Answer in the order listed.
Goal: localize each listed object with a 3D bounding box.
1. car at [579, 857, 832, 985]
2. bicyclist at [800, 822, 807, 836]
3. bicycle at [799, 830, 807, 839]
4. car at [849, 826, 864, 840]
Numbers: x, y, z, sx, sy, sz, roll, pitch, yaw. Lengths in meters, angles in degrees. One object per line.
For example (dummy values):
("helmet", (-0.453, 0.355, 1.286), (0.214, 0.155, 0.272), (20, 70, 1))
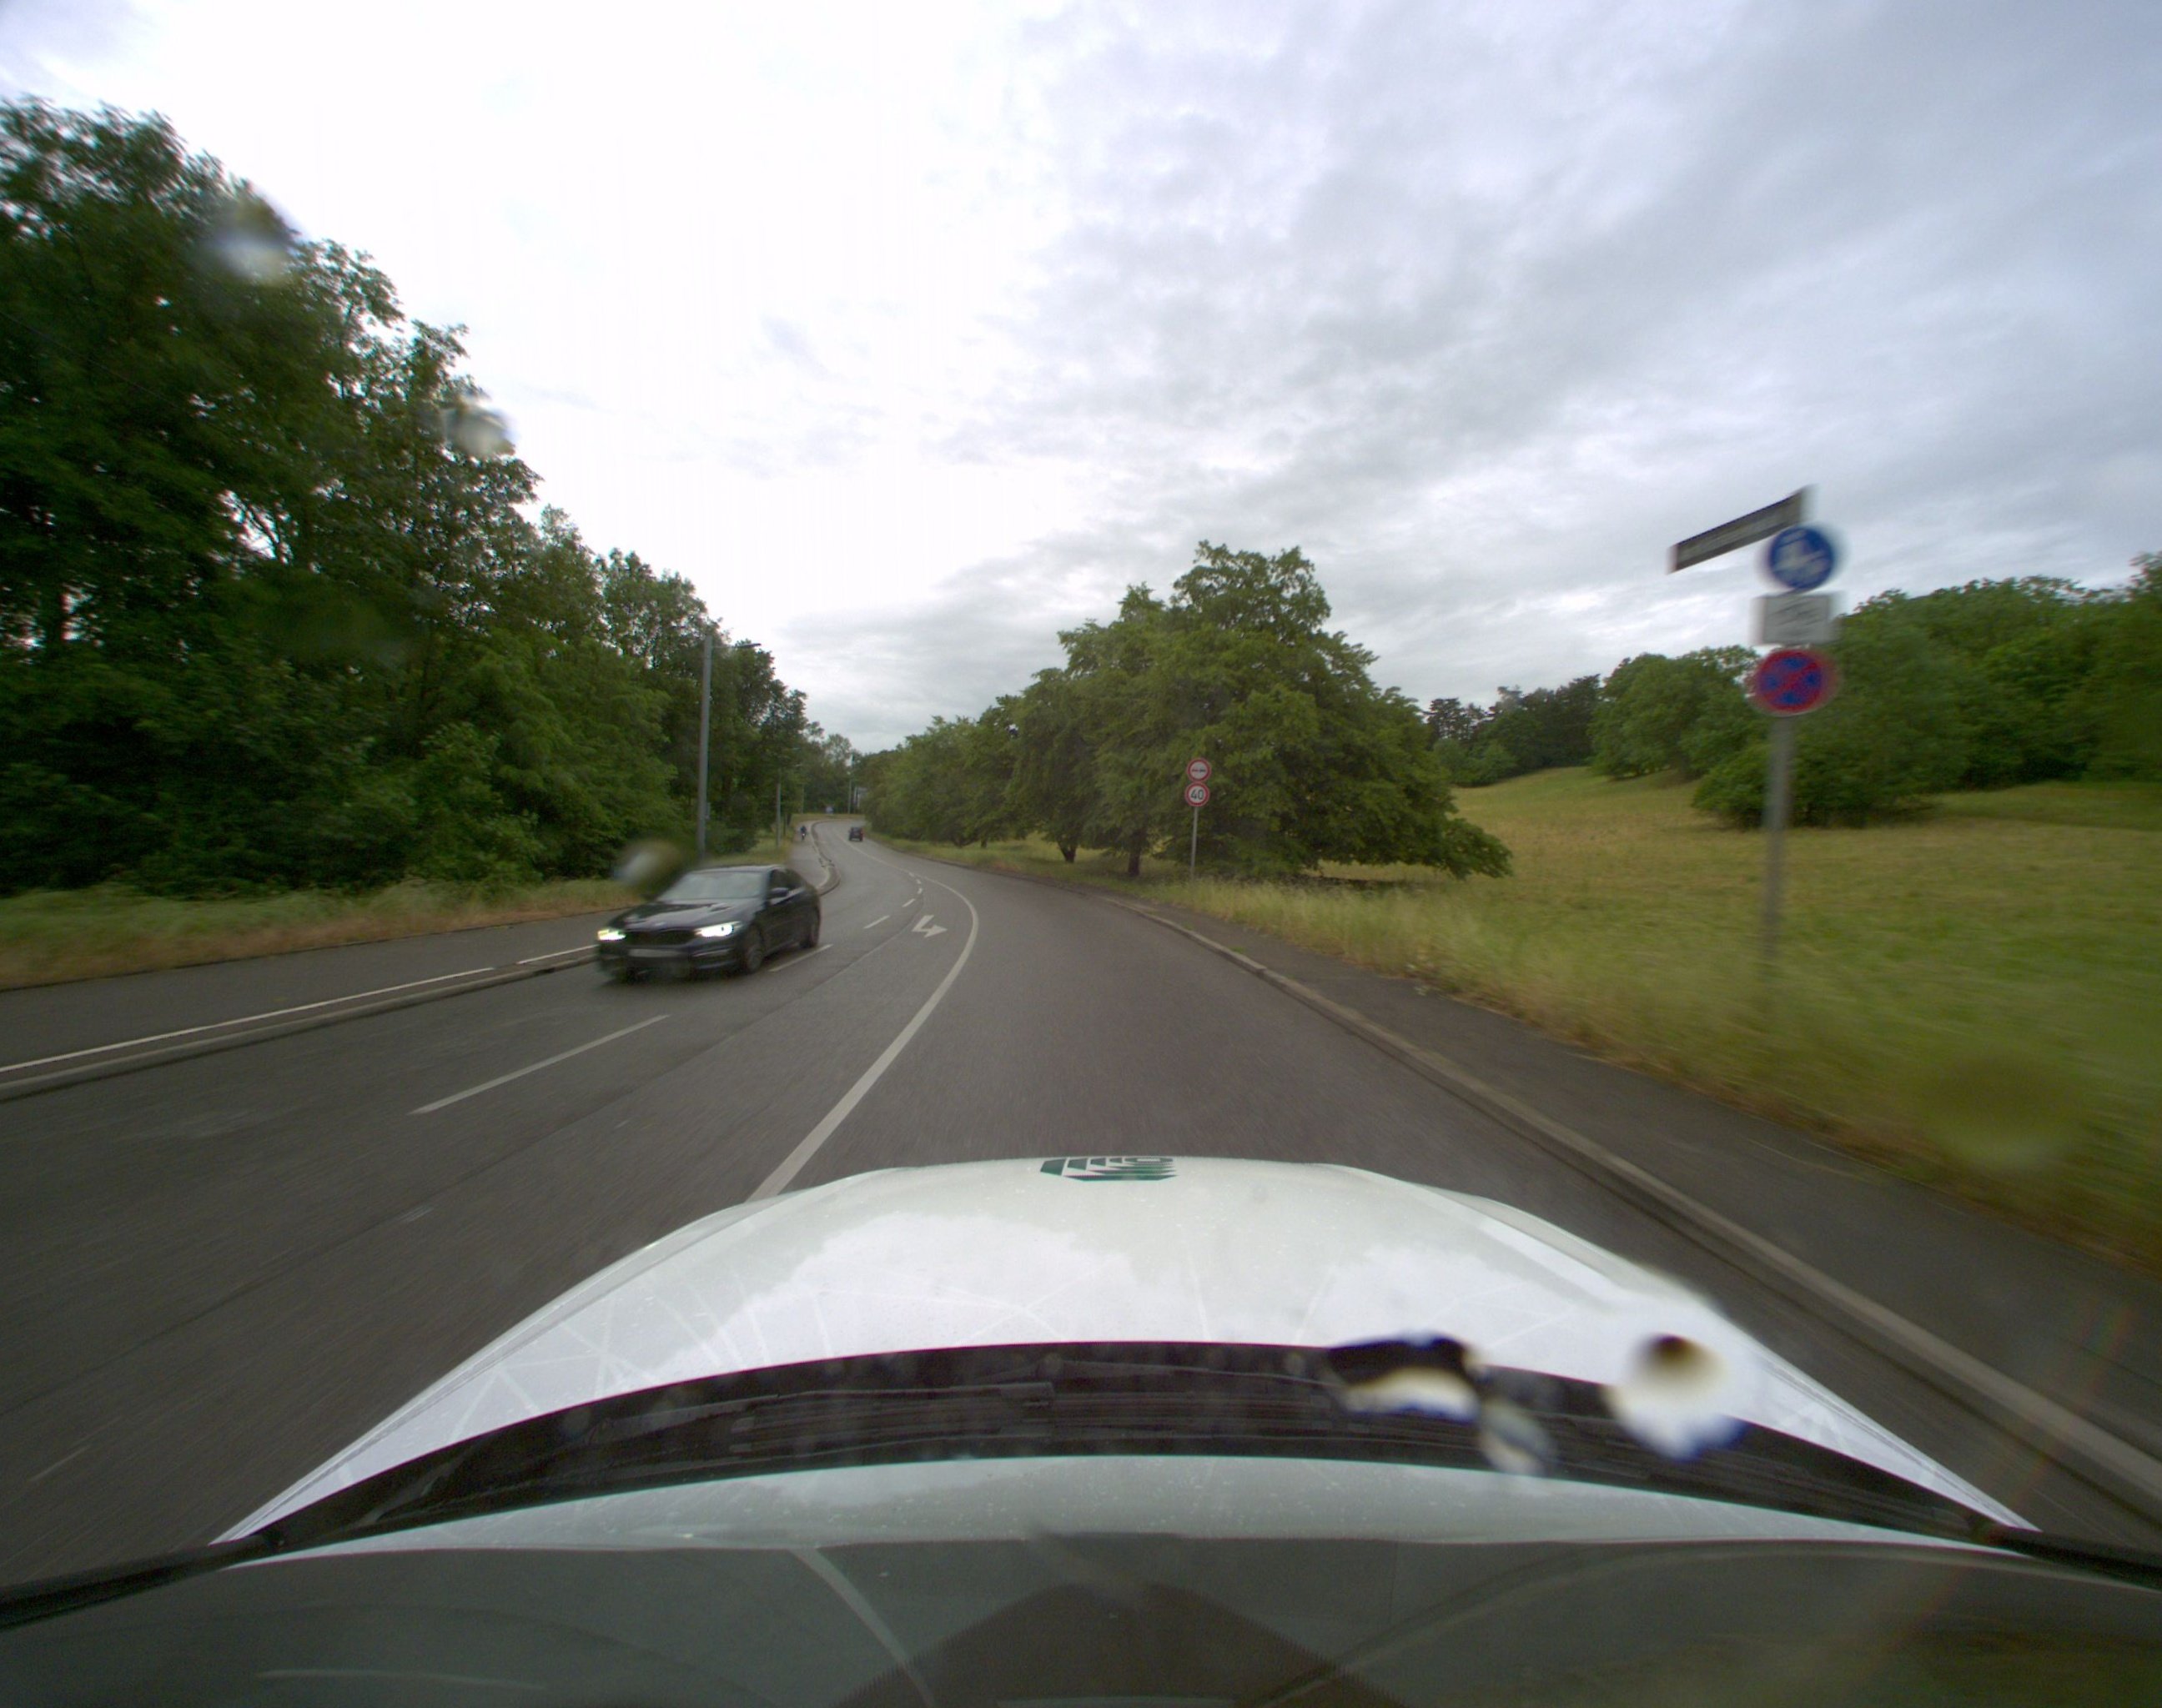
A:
("car", (-5.296, 0.834, 12.276), (1.842, 1.501, 4.625), (-2, -1, -3))
("bicyclist", (-32.222, -2.870, 94.491), (0.711, 1.556, 1.163), (4, 1, -20))
("bicycle", (-32.208, -2.227, 94.369), (0.726, 0.941, 2.534), (4, 1, -20))
("car", (-29.795, -2.843, 108.014), (1.746, 1.716, 3.976), (3, 1, -18))
